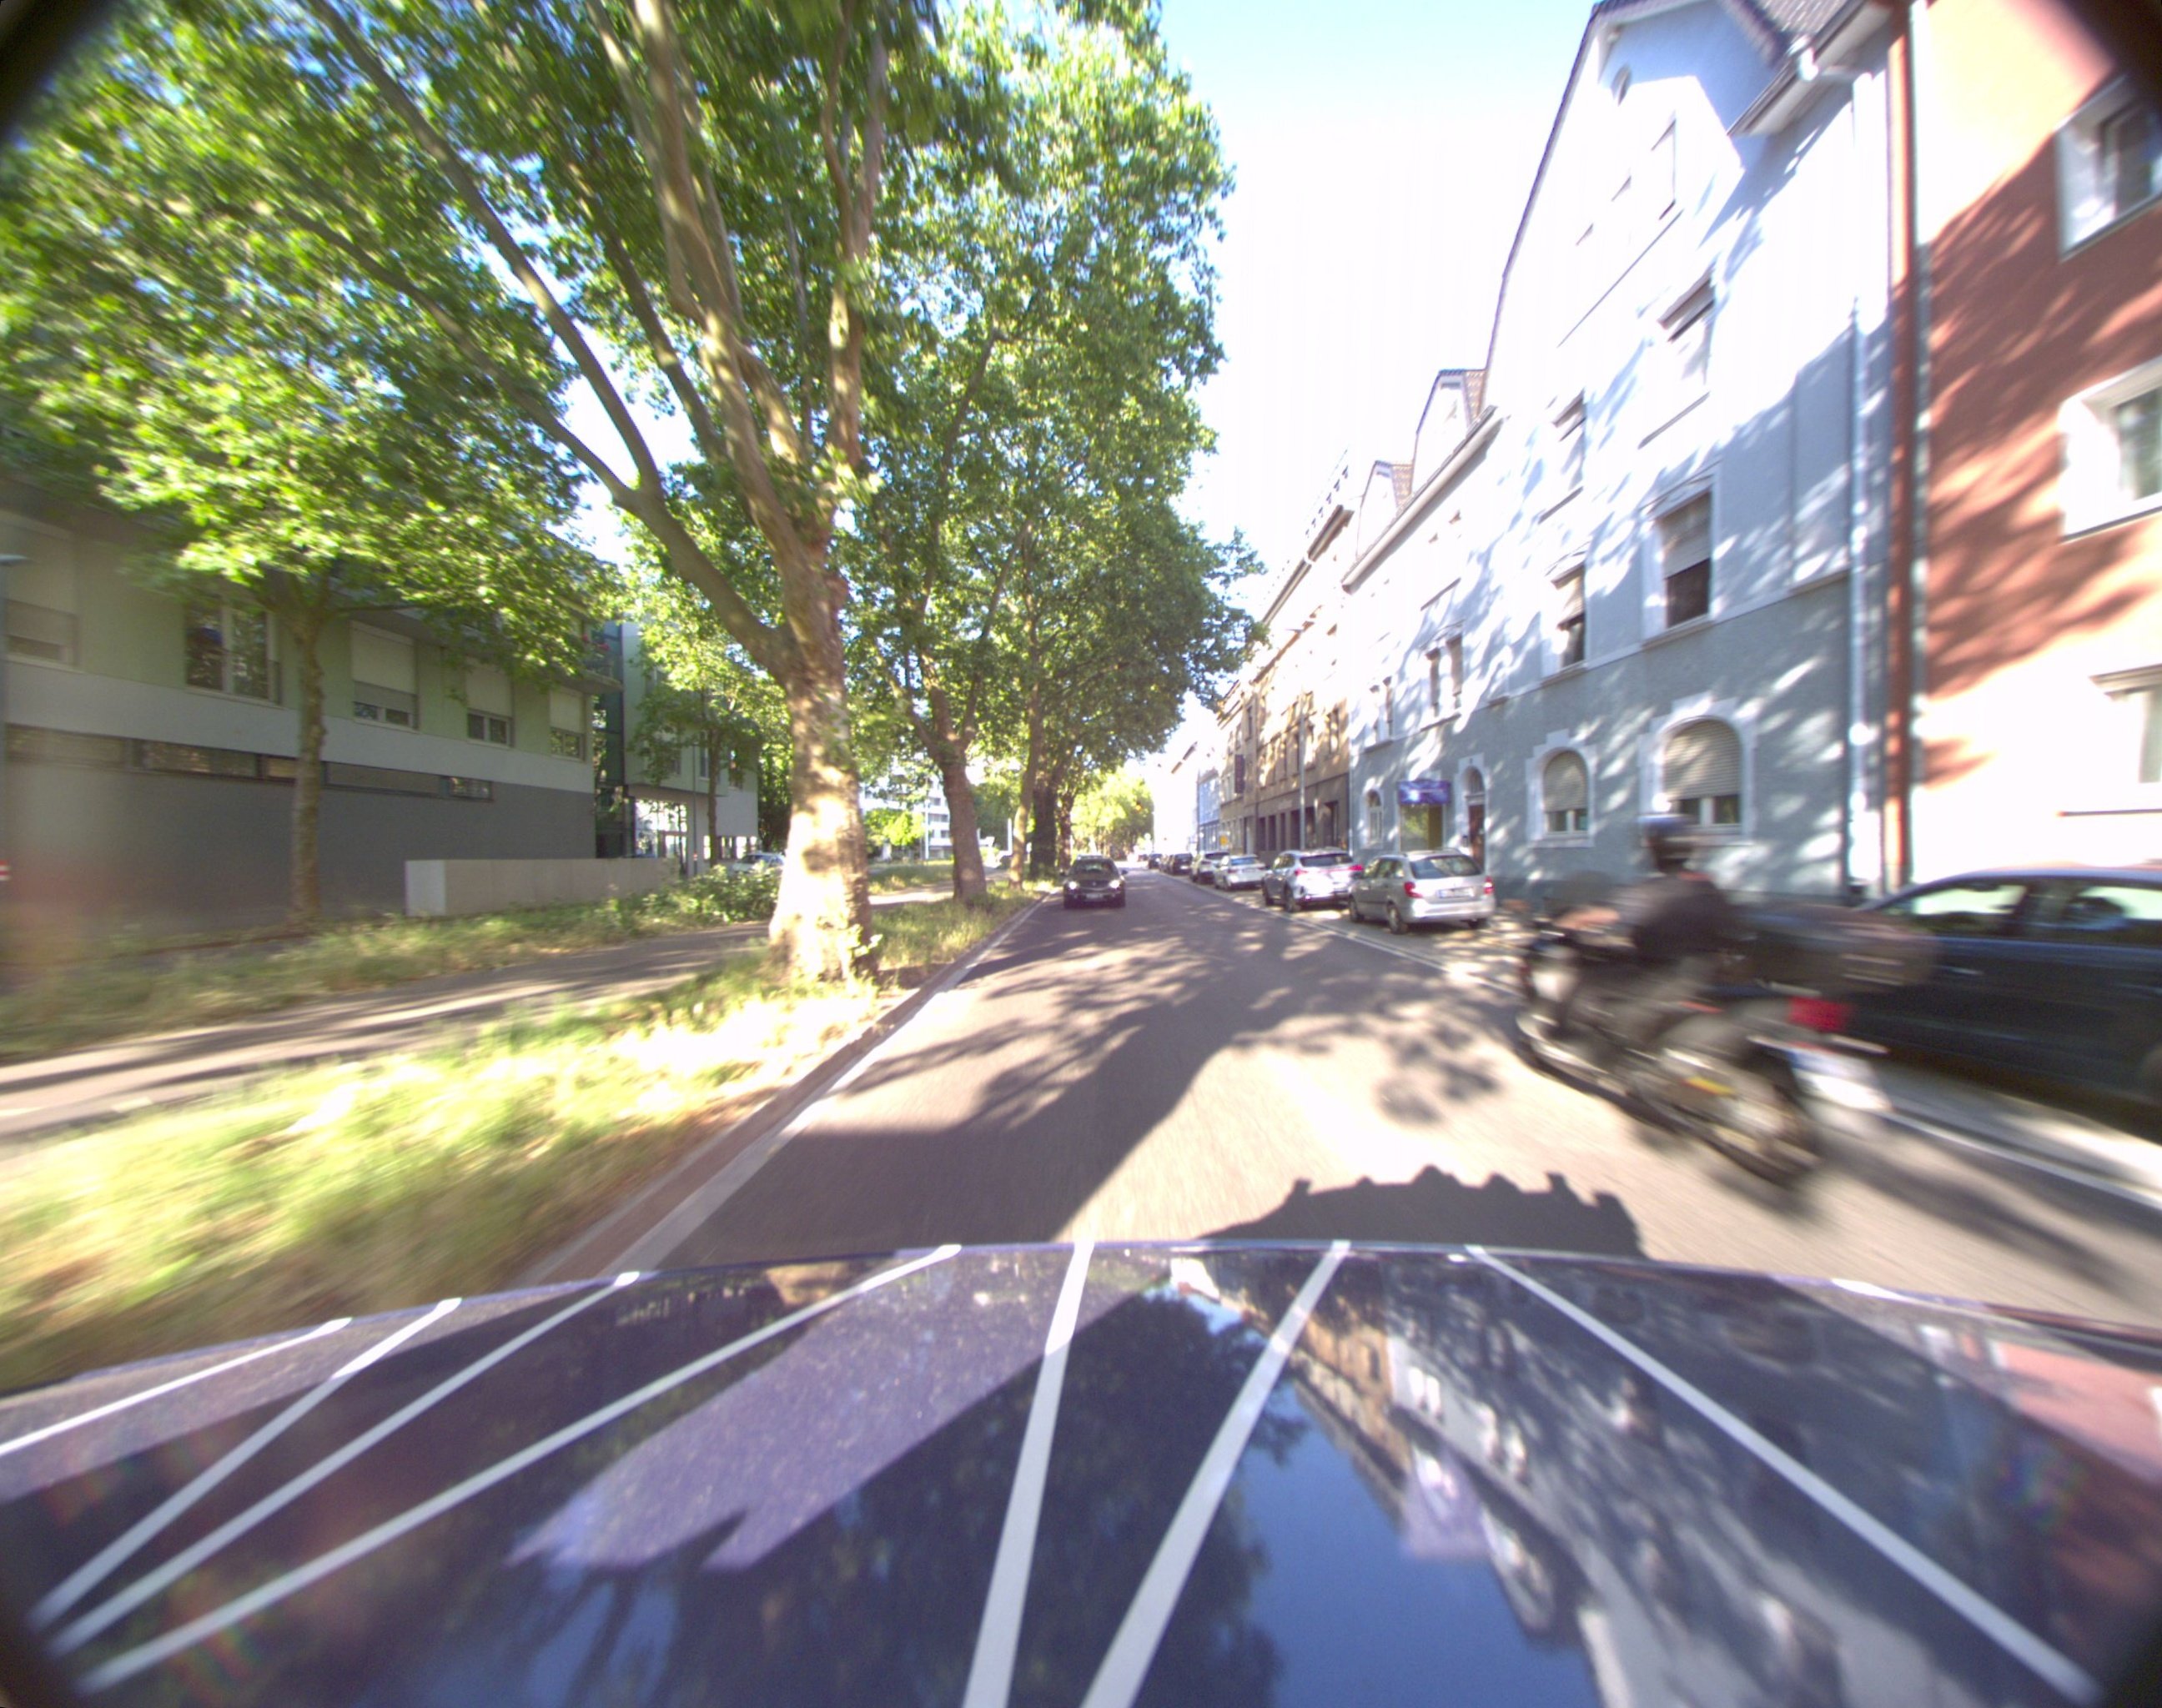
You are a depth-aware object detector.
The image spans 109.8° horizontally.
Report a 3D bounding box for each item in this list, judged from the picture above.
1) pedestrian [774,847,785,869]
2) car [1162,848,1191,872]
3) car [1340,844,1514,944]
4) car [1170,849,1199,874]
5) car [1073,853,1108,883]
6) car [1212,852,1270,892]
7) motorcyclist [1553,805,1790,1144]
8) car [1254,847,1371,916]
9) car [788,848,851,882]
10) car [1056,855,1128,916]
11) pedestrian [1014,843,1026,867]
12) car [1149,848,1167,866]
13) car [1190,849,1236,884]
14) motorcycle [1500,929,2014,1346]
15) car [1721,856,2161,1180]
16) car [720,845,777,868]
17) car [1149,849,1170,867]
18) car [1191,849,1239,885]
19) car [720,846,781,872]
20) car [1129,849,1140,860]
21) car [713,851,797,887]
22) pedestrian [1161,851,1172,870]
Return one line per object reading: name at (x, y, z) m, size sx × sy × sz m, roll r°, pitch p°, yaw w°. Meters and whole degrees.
pedestrian at (-25.178, 0.339, 63.475) m, size 0.560 × 1.742 × 0.532 m, roll -1°, pitch 2°, yaw 12°
car at (7.175, 0.445, 57.411) m, size 1.786 × 1.663 × 4.156 m, roll -2°, pitch 0°, yaw 2°
car at (6.560, 0.673, 14.914) m, size 1.682 × 1.632 × 3.985 m, roll -2°, pitch 0°, yaw 2°
car at (7.098, 0.467, 52.247) m, size 1.681 × 1.595 × 3.706 m, roll -2°, pitch 0°, yaw 4°
car at (0.495, 0.666, 37.903) m, size 1.654 × 1.445 × 3.535 m, roll 0°, pitch 0°, yaw 1°
car at (6.557, 0.698, 31.523) m, size 1.682 × 1.487 × 3.872 m, roll -2°, pitch 0°, yaw 2°
motorcyclist at (3.028, 0.566, 3.982) m, size 0.587 × 1.596 × 0.831 m, roll 0°, pitch 1°, yaw 0°
car at (6.201, 0.660, 20.917) m, size 1.912 × 1.632 × 4.577 m, roll -2°, pitch 0°, yaw 2°
car at (-14.329, 0.552, 41.896) m, size 1.909 × 1.760 × 4.320 m, roll 0°, pitch 0°, yaw 1°
car at (0.373, 0.849, 22.504) m, size 1.844 × 1.536 × 4.524 m, roll -2°, pitch 0°, yaw 2°
pedestrian at (-5.021, 0.089, 62.529) m, size 0.839 × 1.921 × 0.781 m, roll -1°, pitch 1°, yaw -9°
car at (8.331, 0.270, 82.140) m, size 1.668 × 1.808 × 4.005 m, roll -2°, pitch 0°, yaw 3°
car at (6.465, 0.592, 37.505) m, size 1.682 × 1.583 × 3.756 m, roll -2°, pitch 0°, yaw 2°
motorcycle at (3.038, 1.130, 3.848) m, size 0.548 × 1.234 × 2.264 m, roll 1°, pitch 1°, yaw 0°
car at (6.074, 0.801, 4.439) m, size 1.682 × 1.478 × 3.601 m, roll -2°, pitch 0°, yaw 2°
car at (-23.148, 0.229, 52.991) m, size 1.672 × 1.445 × 3.564 m, roll -1°, pitch -3°, yaw 18°
car at (7.896, 0.349, 76.626) m, size 1.910 × 1.663 × 4.494 m, roll -2°, pitch 0°, yaw 5°
car at (6.444, 0.574, 36.946) m, size 1.682 × 1.575 × 4.200 m, roll -2°, pitch 0°, yaw 2°
car at (-28.656, 0.478, 66.019) m, size 1.997 × 2.083 × 5.061 m, roll -1°, pitch -3°, yaw 18°
car at (9.222, 0.098, 131.880) m, size 1.898 × 1.782 × 4.001 m, roll 0°, pitch 0°, yaw 3°
car at (-14.662, 0.625, 34.460) m, size 1.863 × 1.534 × 4.320 m, roll 0°, pitch 0°, yaw 1°
pedestrian at (7.138, 0.508, 63.198) m, size 0.865 × 1.561 × 0.706 m, roll 0°, pitch 1°, yaw 5°
